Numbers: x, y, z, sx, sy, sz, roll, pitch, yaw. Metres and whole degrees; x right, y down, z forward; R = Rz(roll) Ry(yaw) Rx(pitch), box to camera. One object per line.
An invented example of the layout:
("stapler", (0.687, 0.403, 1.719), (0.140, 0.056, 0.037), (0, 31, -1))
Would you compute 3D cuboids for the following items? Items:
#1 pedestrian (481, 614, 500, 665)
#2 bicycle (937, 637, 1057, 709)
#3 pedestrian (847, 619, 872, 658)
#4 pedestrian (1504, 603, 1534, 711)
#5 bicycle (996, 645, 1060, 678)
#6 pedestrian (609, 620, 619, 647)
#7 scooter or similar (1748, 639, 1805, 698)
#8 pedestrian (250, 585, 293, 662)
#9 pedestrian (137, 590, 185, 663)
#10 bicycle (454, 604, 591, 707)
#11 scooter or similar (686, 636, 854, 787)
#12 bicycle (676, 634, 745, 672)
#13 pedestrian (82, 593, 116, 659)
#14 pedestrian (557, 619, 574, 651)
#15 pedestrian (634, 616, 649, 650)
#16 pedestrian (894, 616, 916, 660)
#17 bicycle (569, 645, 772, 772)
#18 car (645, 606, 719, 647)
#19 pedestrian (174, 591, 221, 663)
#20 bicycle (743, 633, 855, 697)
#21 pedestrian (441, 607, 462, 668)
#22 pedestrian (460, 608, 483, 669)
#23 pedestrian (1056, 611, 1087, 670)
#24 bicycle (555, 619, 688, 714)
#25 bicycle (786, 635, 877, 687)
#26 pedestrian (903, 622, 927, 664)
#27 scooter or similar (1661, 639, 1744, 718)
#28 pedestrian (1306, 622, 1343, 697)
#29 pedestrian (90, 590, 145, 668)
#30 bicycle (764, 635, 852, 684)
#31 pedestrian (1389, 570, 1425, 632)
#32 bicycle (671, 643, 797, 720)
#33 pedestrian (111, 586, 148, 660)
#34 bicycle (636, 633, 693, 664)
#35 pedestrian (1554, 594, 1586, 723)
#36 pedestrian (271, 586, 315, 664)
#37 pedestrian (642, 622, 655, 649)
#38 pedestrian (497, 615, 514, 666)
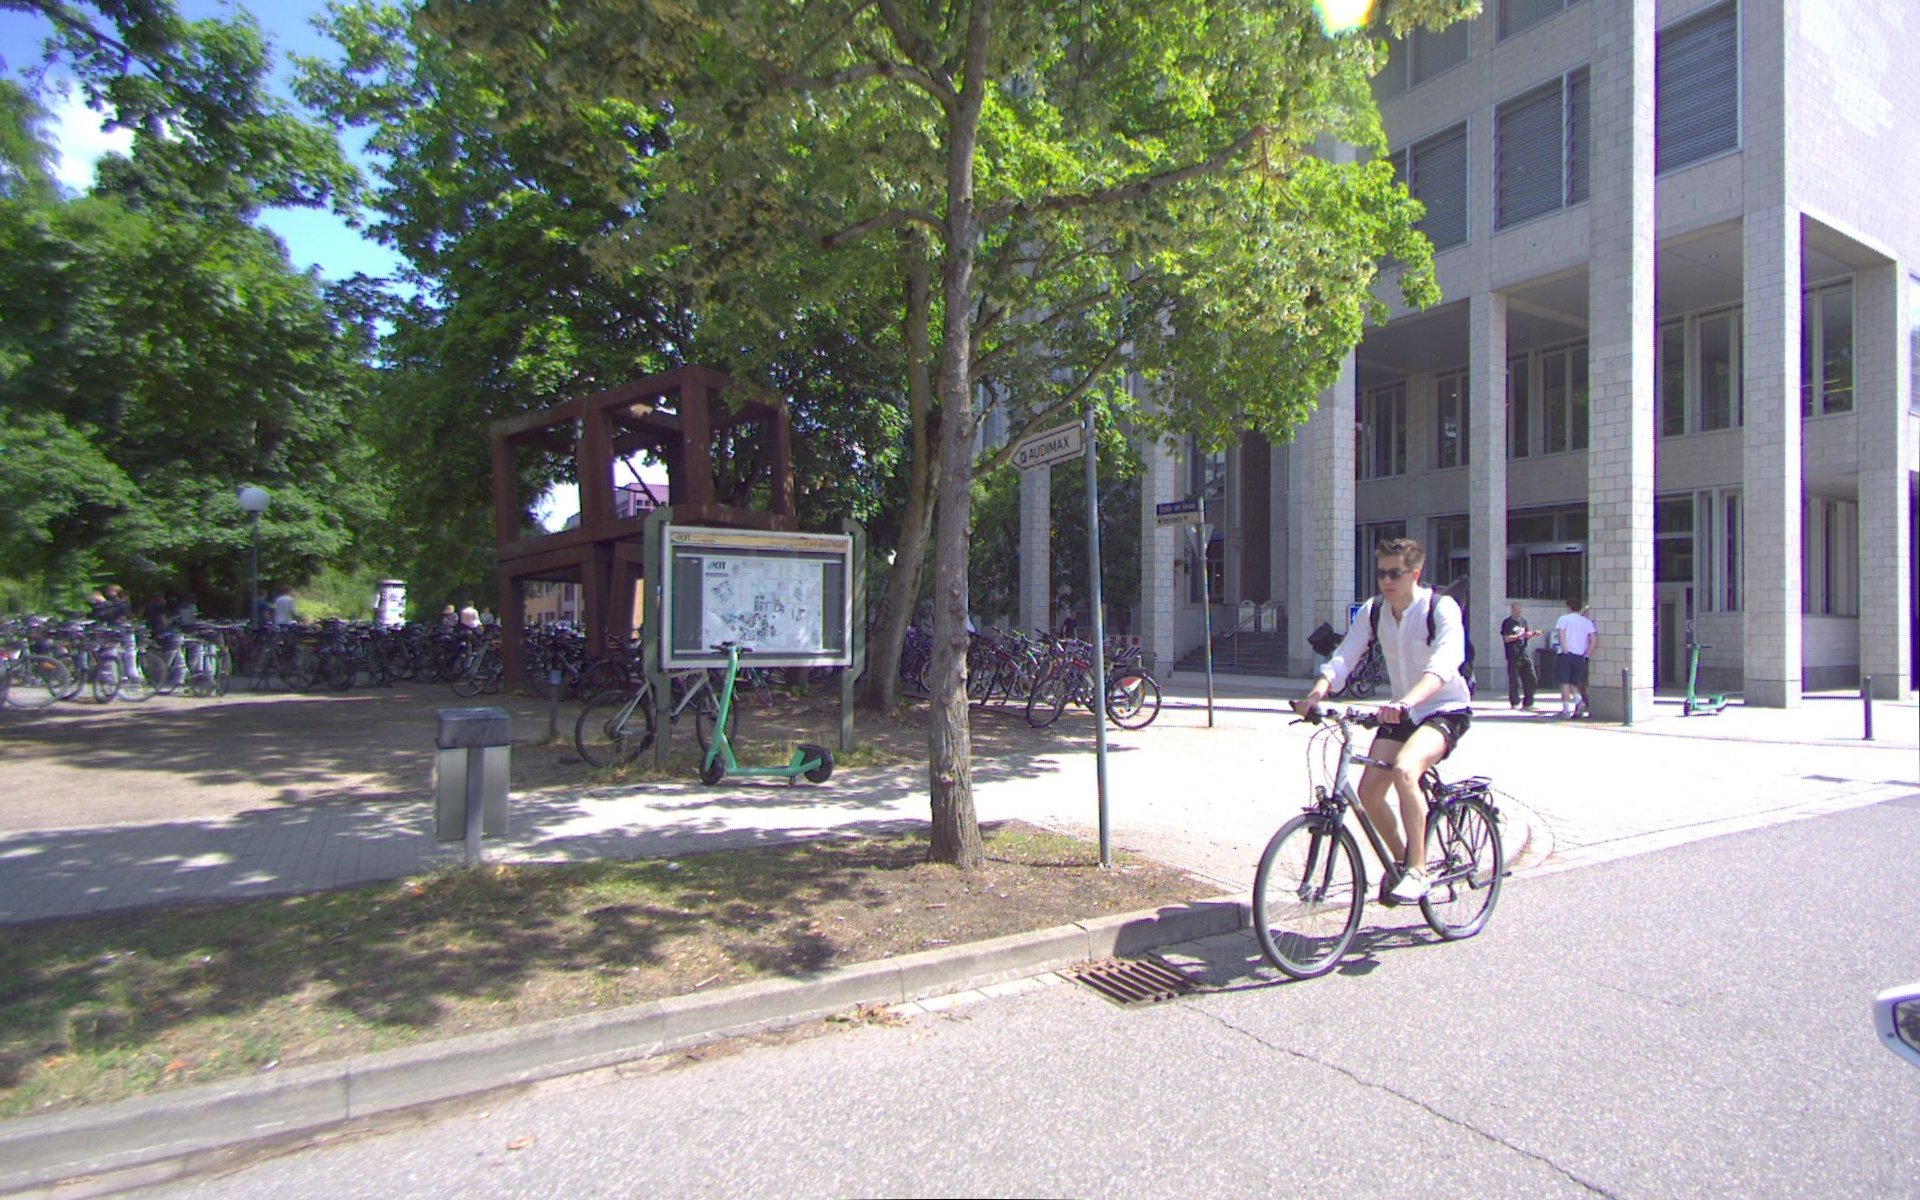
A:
("pedestrian", (-18.767, 1.579, 40.171), (0.566, 2.040, 0.532), (1, 0, -15))
("bicycle", (0.620, 1.169, 16.373), (1.950, 1.101, 0.549), (1, 0, -31))
("pedestrian", (-4.107, 1.553, 40.984), (0.713, 1.561, 0.696), (1, -1, -39))
("pedestrian", (9.534, 0.958, 17.135), (0.434, 1.799, 0.450), (0, -1, 29))
("bicycle", (2.045, 1.830, 30.149), (1.971, 0.958, 0.522), (1, -1, -32))
("pedestrian", (-20.555, 1.983, 59.603), (0.489, 1.627, 0.585), (1, -1, -25))
("scooter or similar", (17.702, 1.463, 21.806), (0.516, 1.226, 1.557), (0, -1, 22))
("pedestrian", (-17.933, 0.612, 26.154), (0.610, 1.959, 0.681), (1, 0, 25))
("pedestrian", (-18.893, 0.611, 23.760), (0.545, 1.692, 0.703), (1, 0, 25))
("bicycle", (-6.648, 0.810, 15.231), (2.248, 1.469, 0.606), (0, -1, 27))
("scooter or similar", (-1.563, 0.906, 8.313), (1.301, 1.191, 0.340), (1, 0, 5))
("bicycle", (-7.562, 1.583, 30.450), (1.950, 1.101, 0.549), (1, 0, -31))
("pedestrian", (-20.525, 0.621, 23.939), (0.402, 1.547, 0.486), (1, 0, 29))
("pedestrian", (-20.394, 1.819, 51.934), (0.751, 1.617, 0.391), (1, -1, -31))
("pedestrian", (-18.826, 1.973, 59.403), (0.721, 1.992, 0.748), (1, 0, -28))
("pedestrian", (-2.114, 1.455, 38.561), (0.633, 1.671, 0.597), (1, -1, -28))
("bicycle", (-2.591, 0.938, 9.161), (1.802, 1.039, 0.378), (2, -1, -43))
("car", (-19.475, 1.873, 70.432), (4.584, 2.813, 1.980), (1, -1, -36))
("pedestrian", (-18.128, 0.632, 23.896), (0.545, 1.692, 0.693), (1, 0, 25))
("bicycle", (-2.704, 1.080, 16.969), (1.828, 1.046, 0.473), (1, -1, -30))
("pedestrian", (-17.165, 1.261, 33.889), (0.511, 2.040, 0.532), (1, 0, -15))
("pedestrian", (-16.553, 1.294, 34.015), (0.583, 2.040, 0.532), (1, 0, -15))
("pedestrian", (3.477, 1.241, 31.258), (0.728, 1.814, 0.621), (1, -1, -29))
("bicycle", (-4.812, 0.925, 14.256), (1.984, 1.270, 0.586), (-1, -2, 28))
("bicycle", (-2.843, 1.343, 22.319), (1.950, 1.101, 0.549), (1, 0, -31))
("pedestrian", (-1.780, 1.682, 39.607), (0.776, 1.625, 0.597), (1, -1, -28))
("scooter or similar", (12.118, 1.257, 16.382), (1.529, 1.240, 0.453), (1, -1, -27))
("pedestrian", (7.015, 1.143, 19.354), (0.440, 1.401, 0.462), (-3, 0, -40))
("pedestrian", (-18.722, 0.644, 22.326), (0.620, 1.692, 0.730), (1, 0, 25))
("bicycle", (-3.563, 1.382, 23.612), (1.950, 1.101, 0.549), (1, 0, -31))
("pedestrian", (12.462, 0.038, 27.992), (0.685, 1.683, 0.631), (1, -1, -26))
("bicycle", (-3.047, 1.078, 13.622), (1.644, 0.978, 0.471), (2, -1, -42))
("pedestrian", (-19.751, 0.547, 23.887), (0.405, 1.736, 0.544), (1, 0, 29))
("bicycle", (-10.910, 1.795, 37.131), (1.950, 1.101, 0.549), (1, 0, -31))
("pedestrian", (9.520, 0.899, 15.686), (0.406, 1.967, 0.662), (1, 0, 30))
("pedestrian", (-17.132, 0.641, 25.815), (0.635, 1.959, 0.696), (1, 0, 25))
("pedestrian", (-18.499, 2.094, 59.570), (0.595, 1.627, 0.627), (1, -1, -31))
("pedestrian", (-18.105, 1.610, 40.001), (0.511, 2.040, 0.532), (1, 0, -15))
